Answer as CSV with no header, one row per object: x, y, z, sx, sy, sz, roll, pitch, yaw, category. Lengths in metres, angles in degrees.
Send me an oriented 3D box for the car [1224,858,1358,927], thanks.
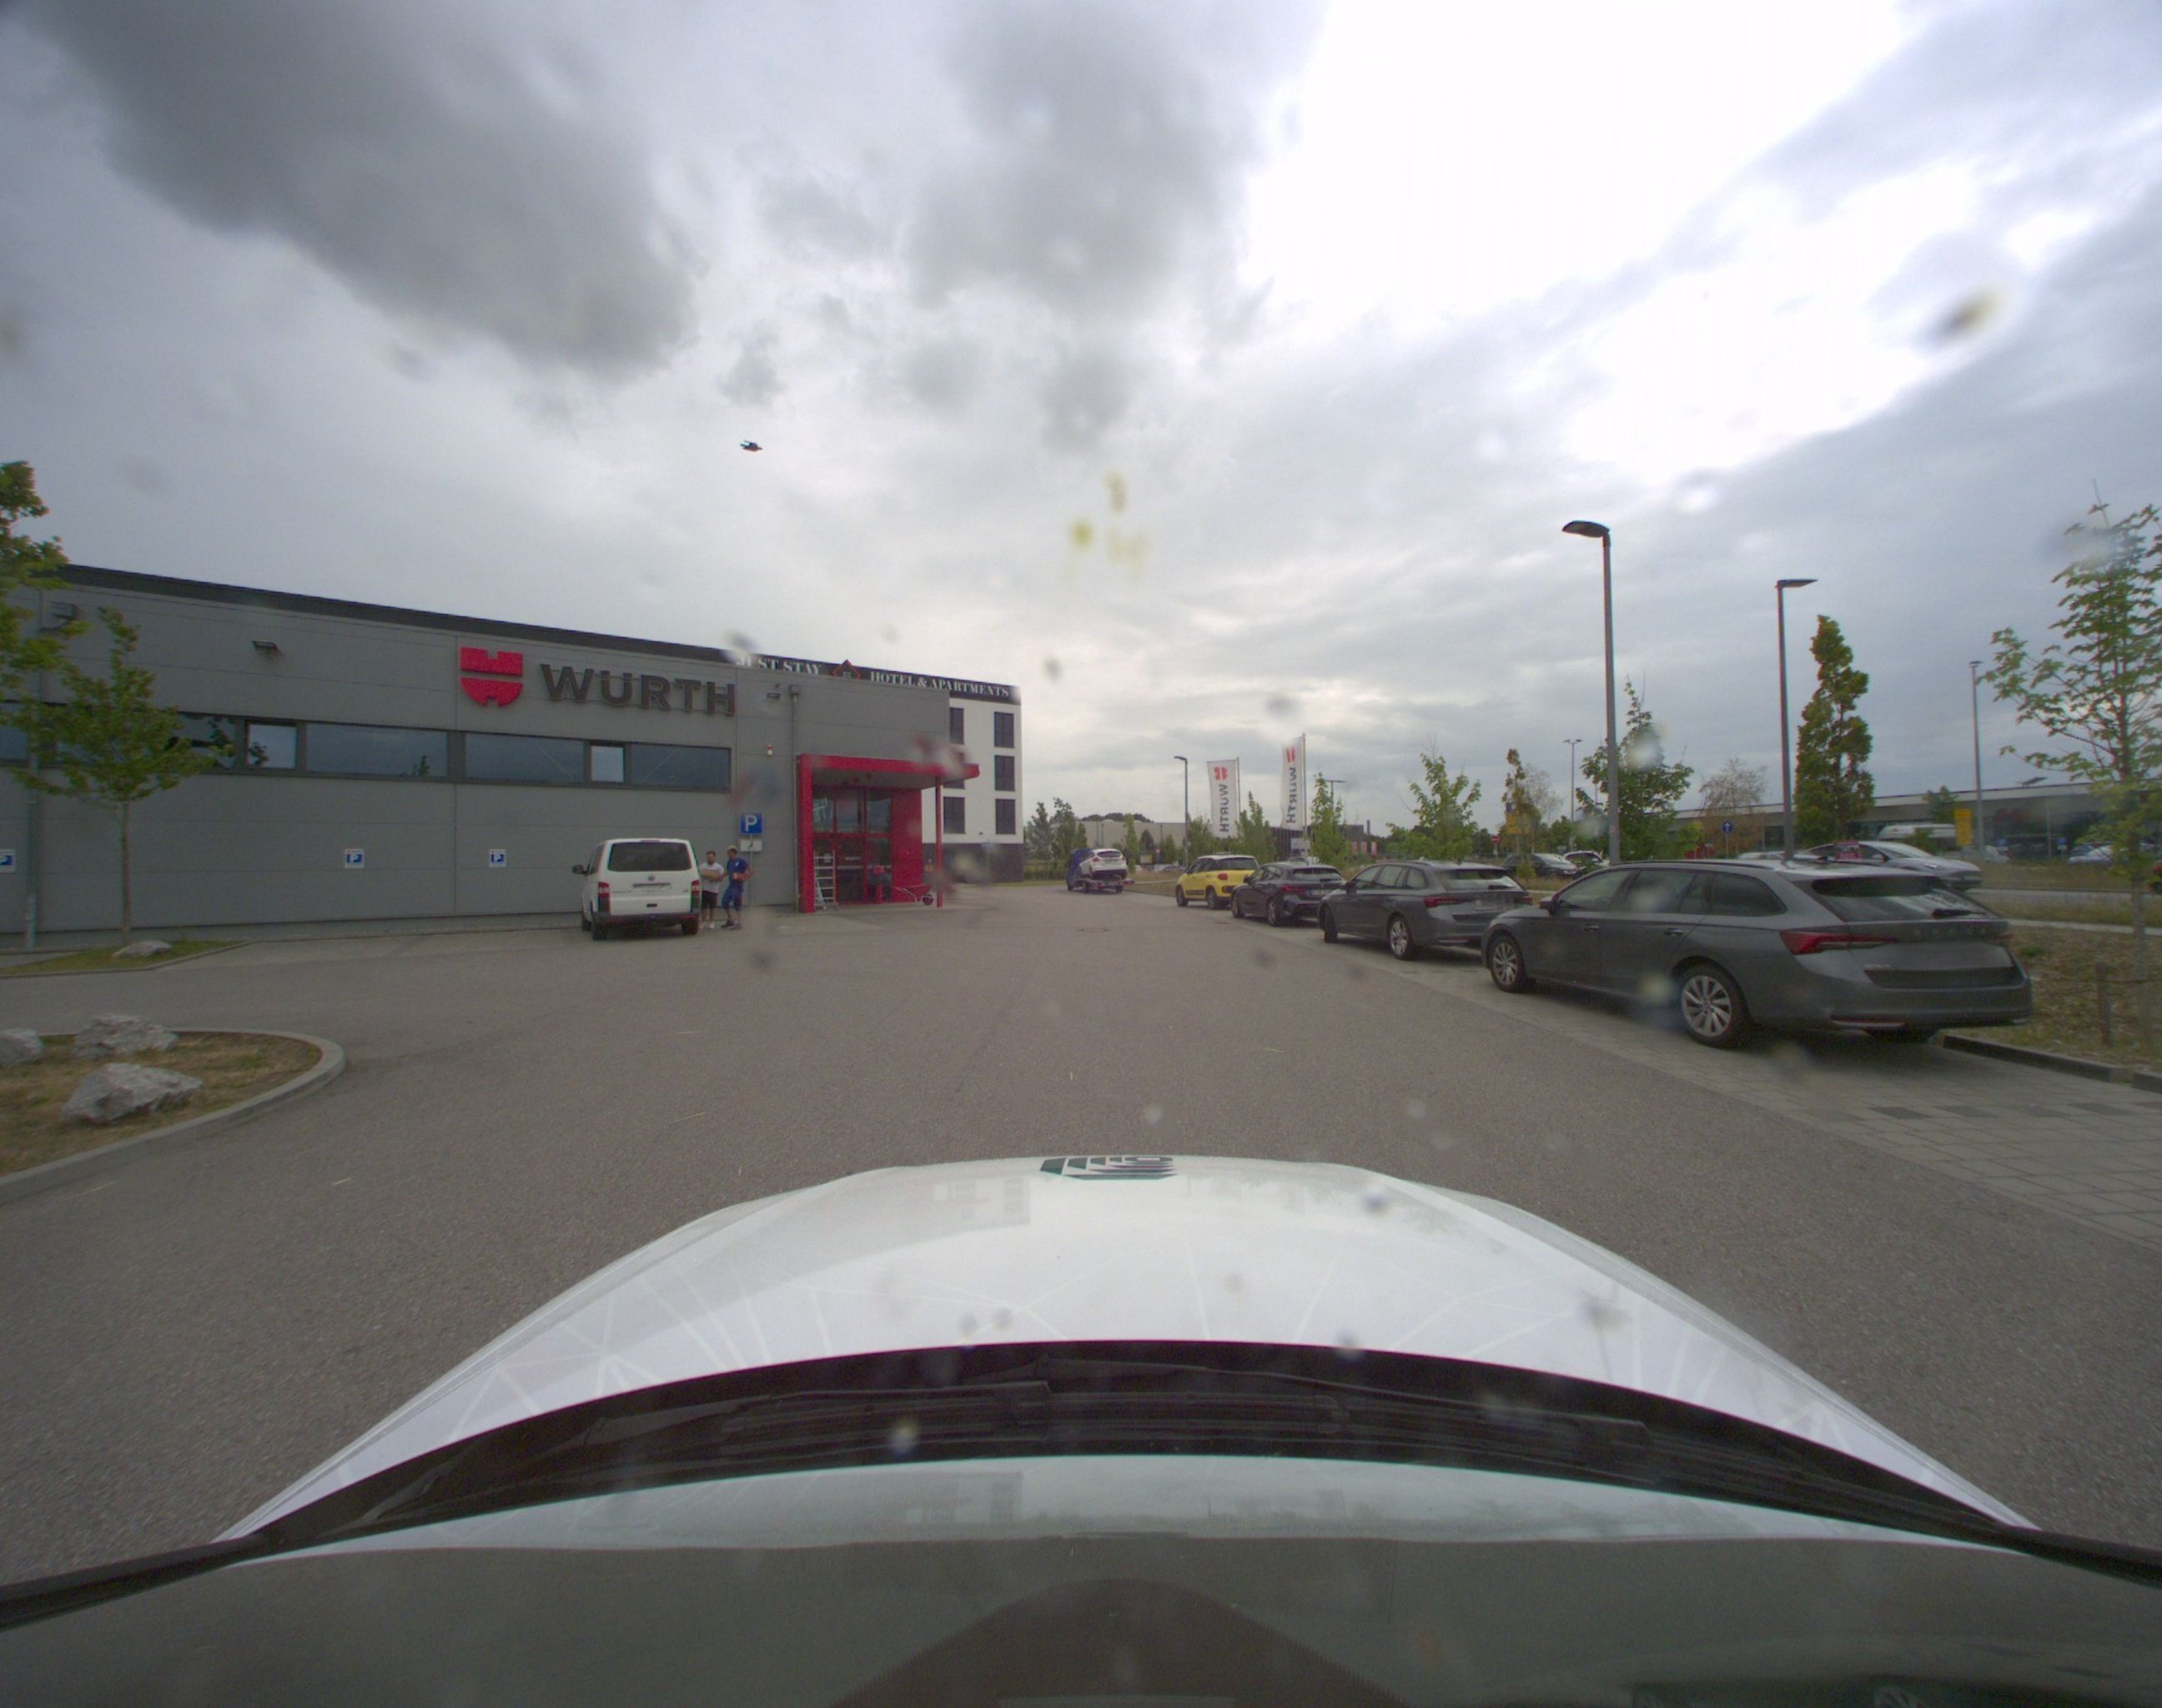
4.877,0.839,19.536,1.750,1.469,4.097,0,-1,-7,car

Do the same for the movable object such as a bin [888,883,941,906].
-5.417,1.305,26.431,1.496,0.704,0.956,0,-1,-27,movable object such as a bin

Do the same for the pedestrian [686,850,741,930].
-8.284,0.783,18.380,0.618,1.751,0.911,-1,-1,31,pedestrian

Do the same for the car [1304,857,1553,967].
5.352,0.802,13.295,1.750,1.469,4.465,0,-1,-7,car

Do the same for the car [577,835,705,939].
-9.369,0.648,17.163,2.069,1.855,4.020,-2,0,-32,car

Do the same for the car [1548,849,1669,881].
24.325,0.506,37.733,1.769,1.395,4.526,-1,-1,-21,car

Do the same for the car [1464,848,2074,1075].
5.650,0.722,7.642,1.748,1.469,4.469,0,-1,-4,car

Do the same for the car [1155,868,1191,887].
9.975,2.529,88.386,2.004,1.860,3.965,-2,0,-26,car

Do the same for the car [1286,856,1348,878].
15.899,0.888,55.161,1.768,1.395,4.529,-1,0,-19,car

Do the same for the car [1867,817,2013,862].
46.078,-0.778,43.772,5.566,2.122,2.337,-2,0,-3,car

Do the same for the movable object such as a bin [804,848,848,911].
-7.112,0.709,22.696,0.916,1.672,0.736,-4,1,-33,movable object such as a bin

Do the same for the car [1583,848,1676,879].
27.587,0.476,41.085,1.655,1.459,3.909,-2,0,-9,car

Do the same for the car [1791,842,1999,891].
25.642,0.385,25.931,1.761,1.395,4.546,-1,0,-7,car

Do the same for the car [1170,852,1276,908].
4.420,0.810,25.933,1.860,1.650,3.979,1,-1,-15,car

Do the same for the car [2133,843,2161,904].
25.743,0.422,17.068,1.761,1.395,4.208,-1,0,-7,car

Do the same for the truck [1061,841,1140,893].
0.846,0.701,42.286,2.333,2.406,7.863,-1,-1,-12,truck

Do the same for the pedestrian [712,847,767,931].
-7.610,0.759,18.158,0.670,1.802,0.886,-1,-1,32,pedestrian
